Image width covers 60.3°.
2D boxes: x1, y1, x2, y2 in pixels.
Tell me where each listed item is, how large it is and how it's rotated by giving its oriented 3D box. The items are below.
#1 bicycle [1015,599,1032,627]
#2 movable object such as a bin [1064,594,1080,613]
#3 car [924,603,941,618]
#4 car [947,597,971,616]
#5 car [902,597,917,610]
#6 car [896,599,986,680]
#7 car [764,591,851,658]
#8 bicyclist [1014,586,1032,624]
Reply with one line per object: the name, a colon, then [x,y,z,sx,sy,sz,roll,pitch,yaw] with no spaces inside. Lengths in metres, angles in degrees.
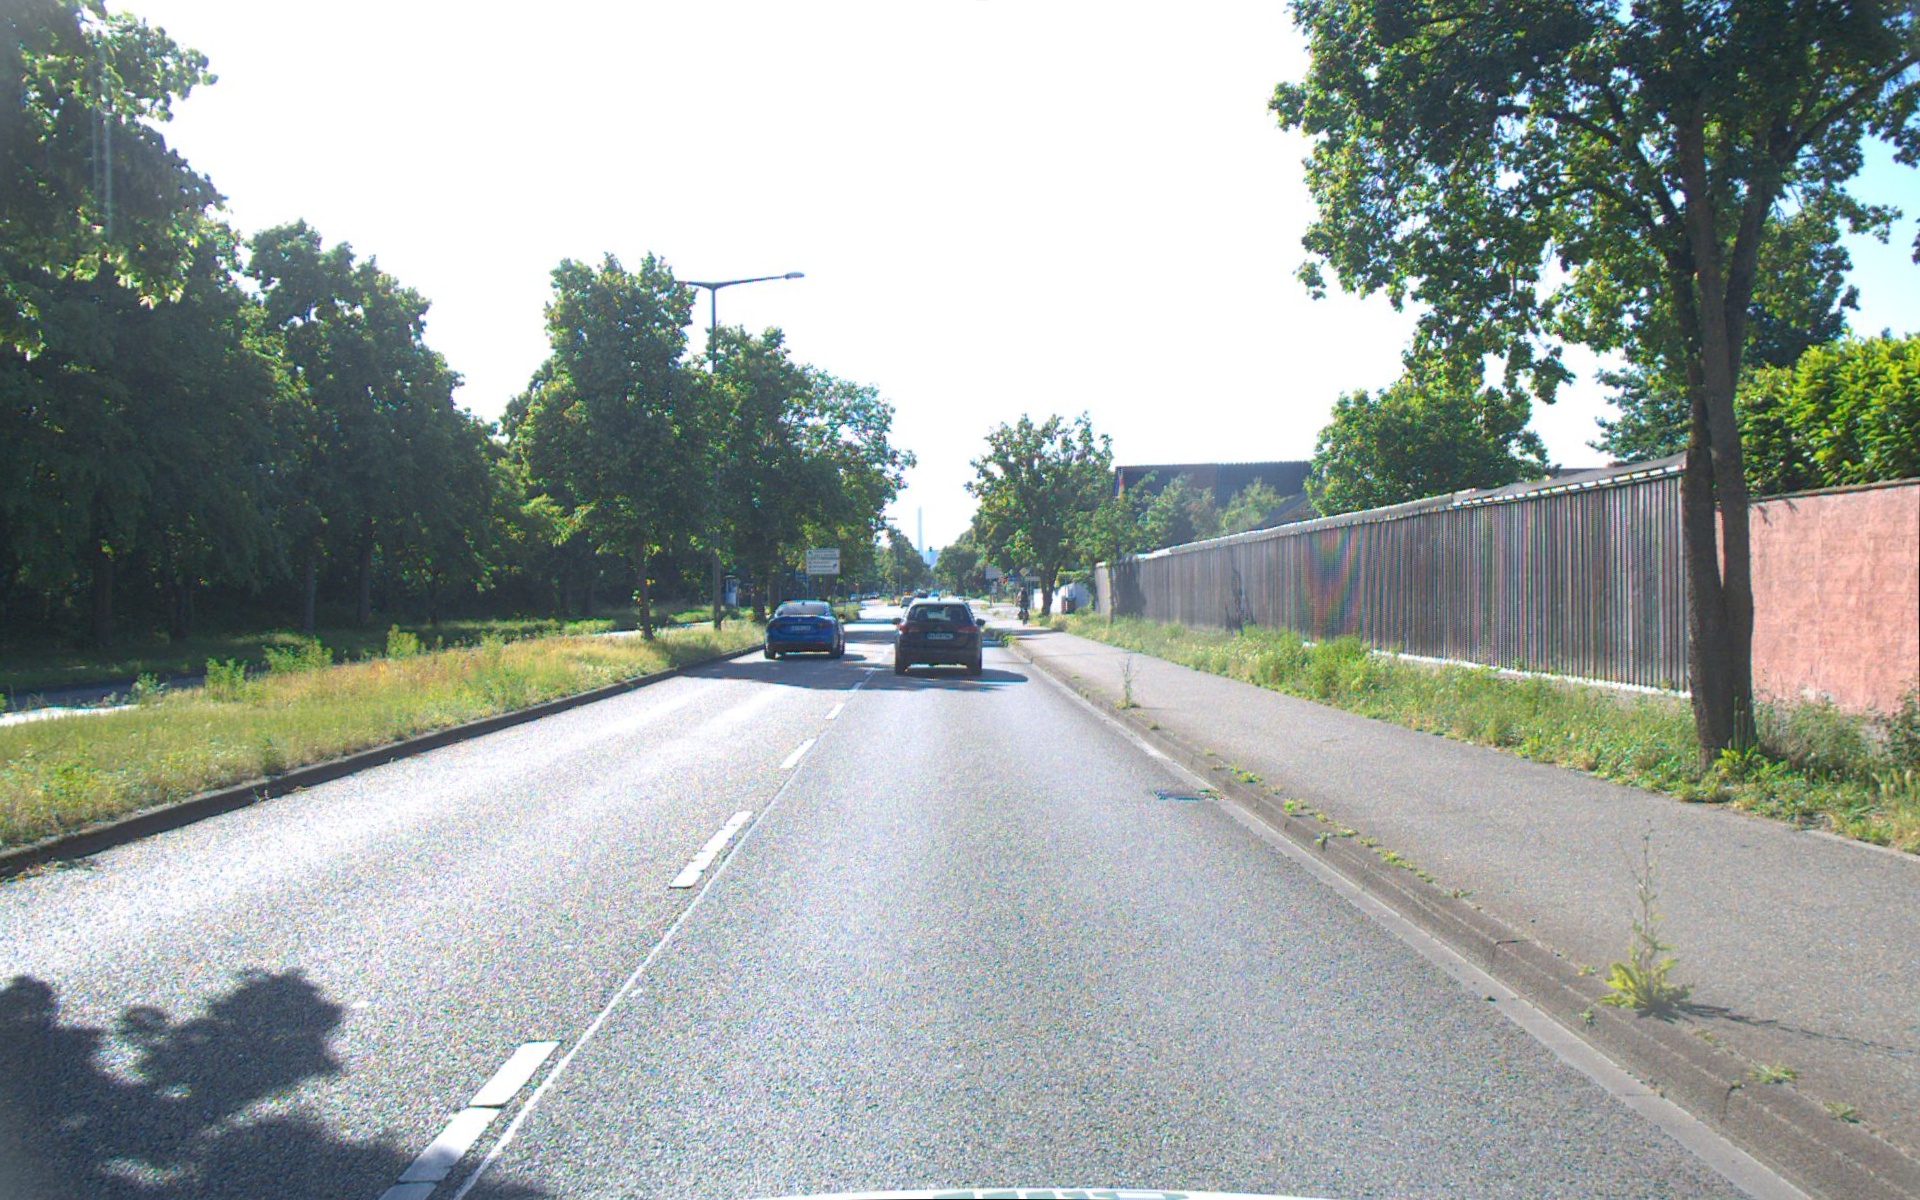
bicycle: [2.872,0.585,74.810,0.562,1.175,2.142,-4,1,6]
movable object such as a bin: [7.663,0.233,113.460,0.980,1.226,1.063,-3,-1,6]
car: [-2.906,1.113,175.392,1.697,1.613,3.839,1,0,-2]
car: [-0.066,0.507,133.496,1.696,1.485,3.841,0,0,2]
car: [-6.164,0.438,202.033,1.787,1.643,3.839,0,0,-1]
car: [-0.389,0.761,33.527,1.720,1.535,3.807,0,0,-1]
car: [-3.822,0.613,41.975,1.850,1.579,3.999,-1,0,-1]
bicyclist: [2.859,0.217,74.785,0.617,1.661,0.982,-4,0,6]
